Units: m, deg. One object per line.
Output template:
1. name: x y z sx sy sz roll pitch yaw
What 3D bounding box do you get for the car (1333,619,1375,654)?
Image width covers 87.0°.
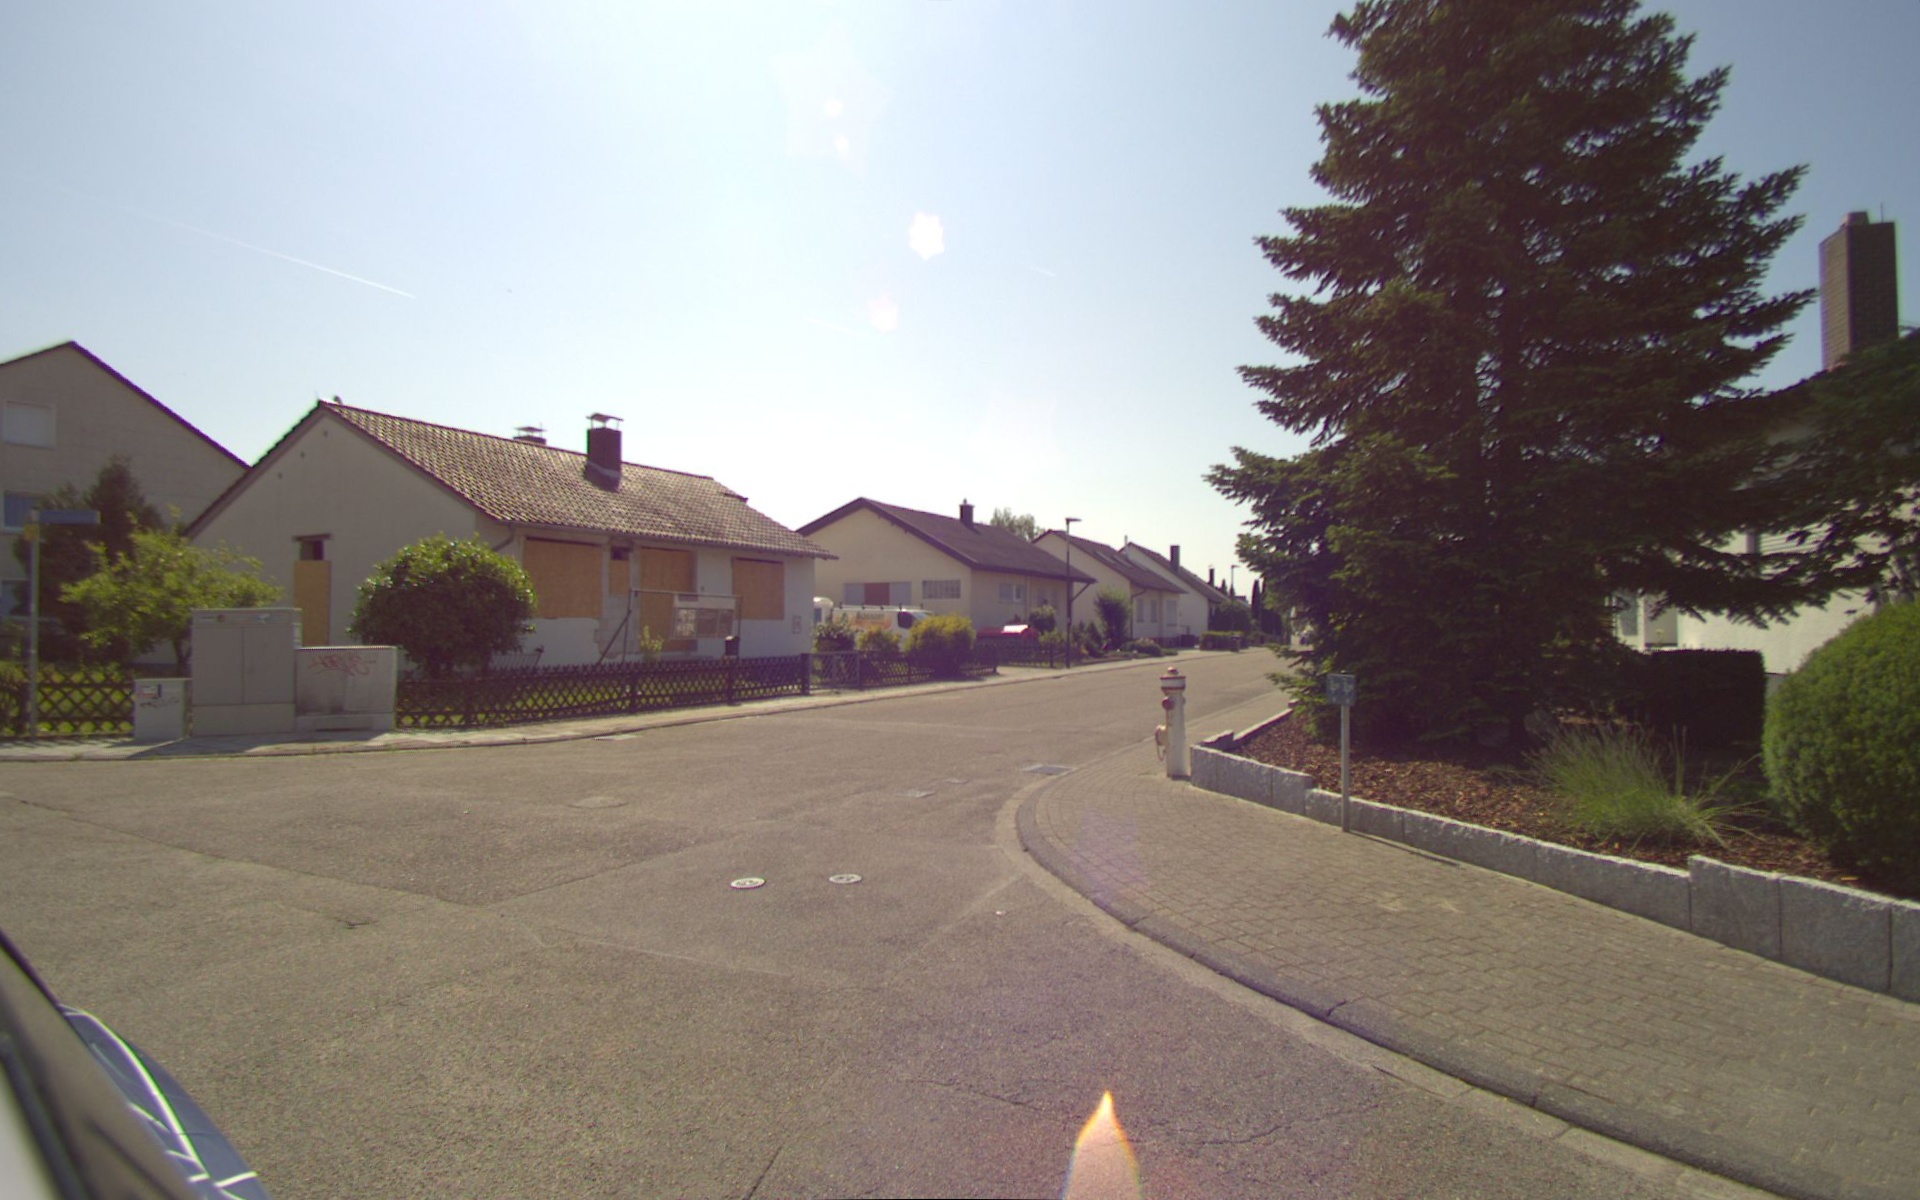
1. car: 21.132 1.931 54.211 1.761 1.791 3.619 -2 -2 26

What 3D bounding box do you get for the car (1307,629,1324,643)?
1. car: 34.171 3.449 97.251 1.449 1.287 3.082 0 -1 20

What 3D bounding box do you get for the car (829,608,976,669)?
1. car: -2.044 1.315 35.707 4.990 2.029 1.850 -1 -1 29
